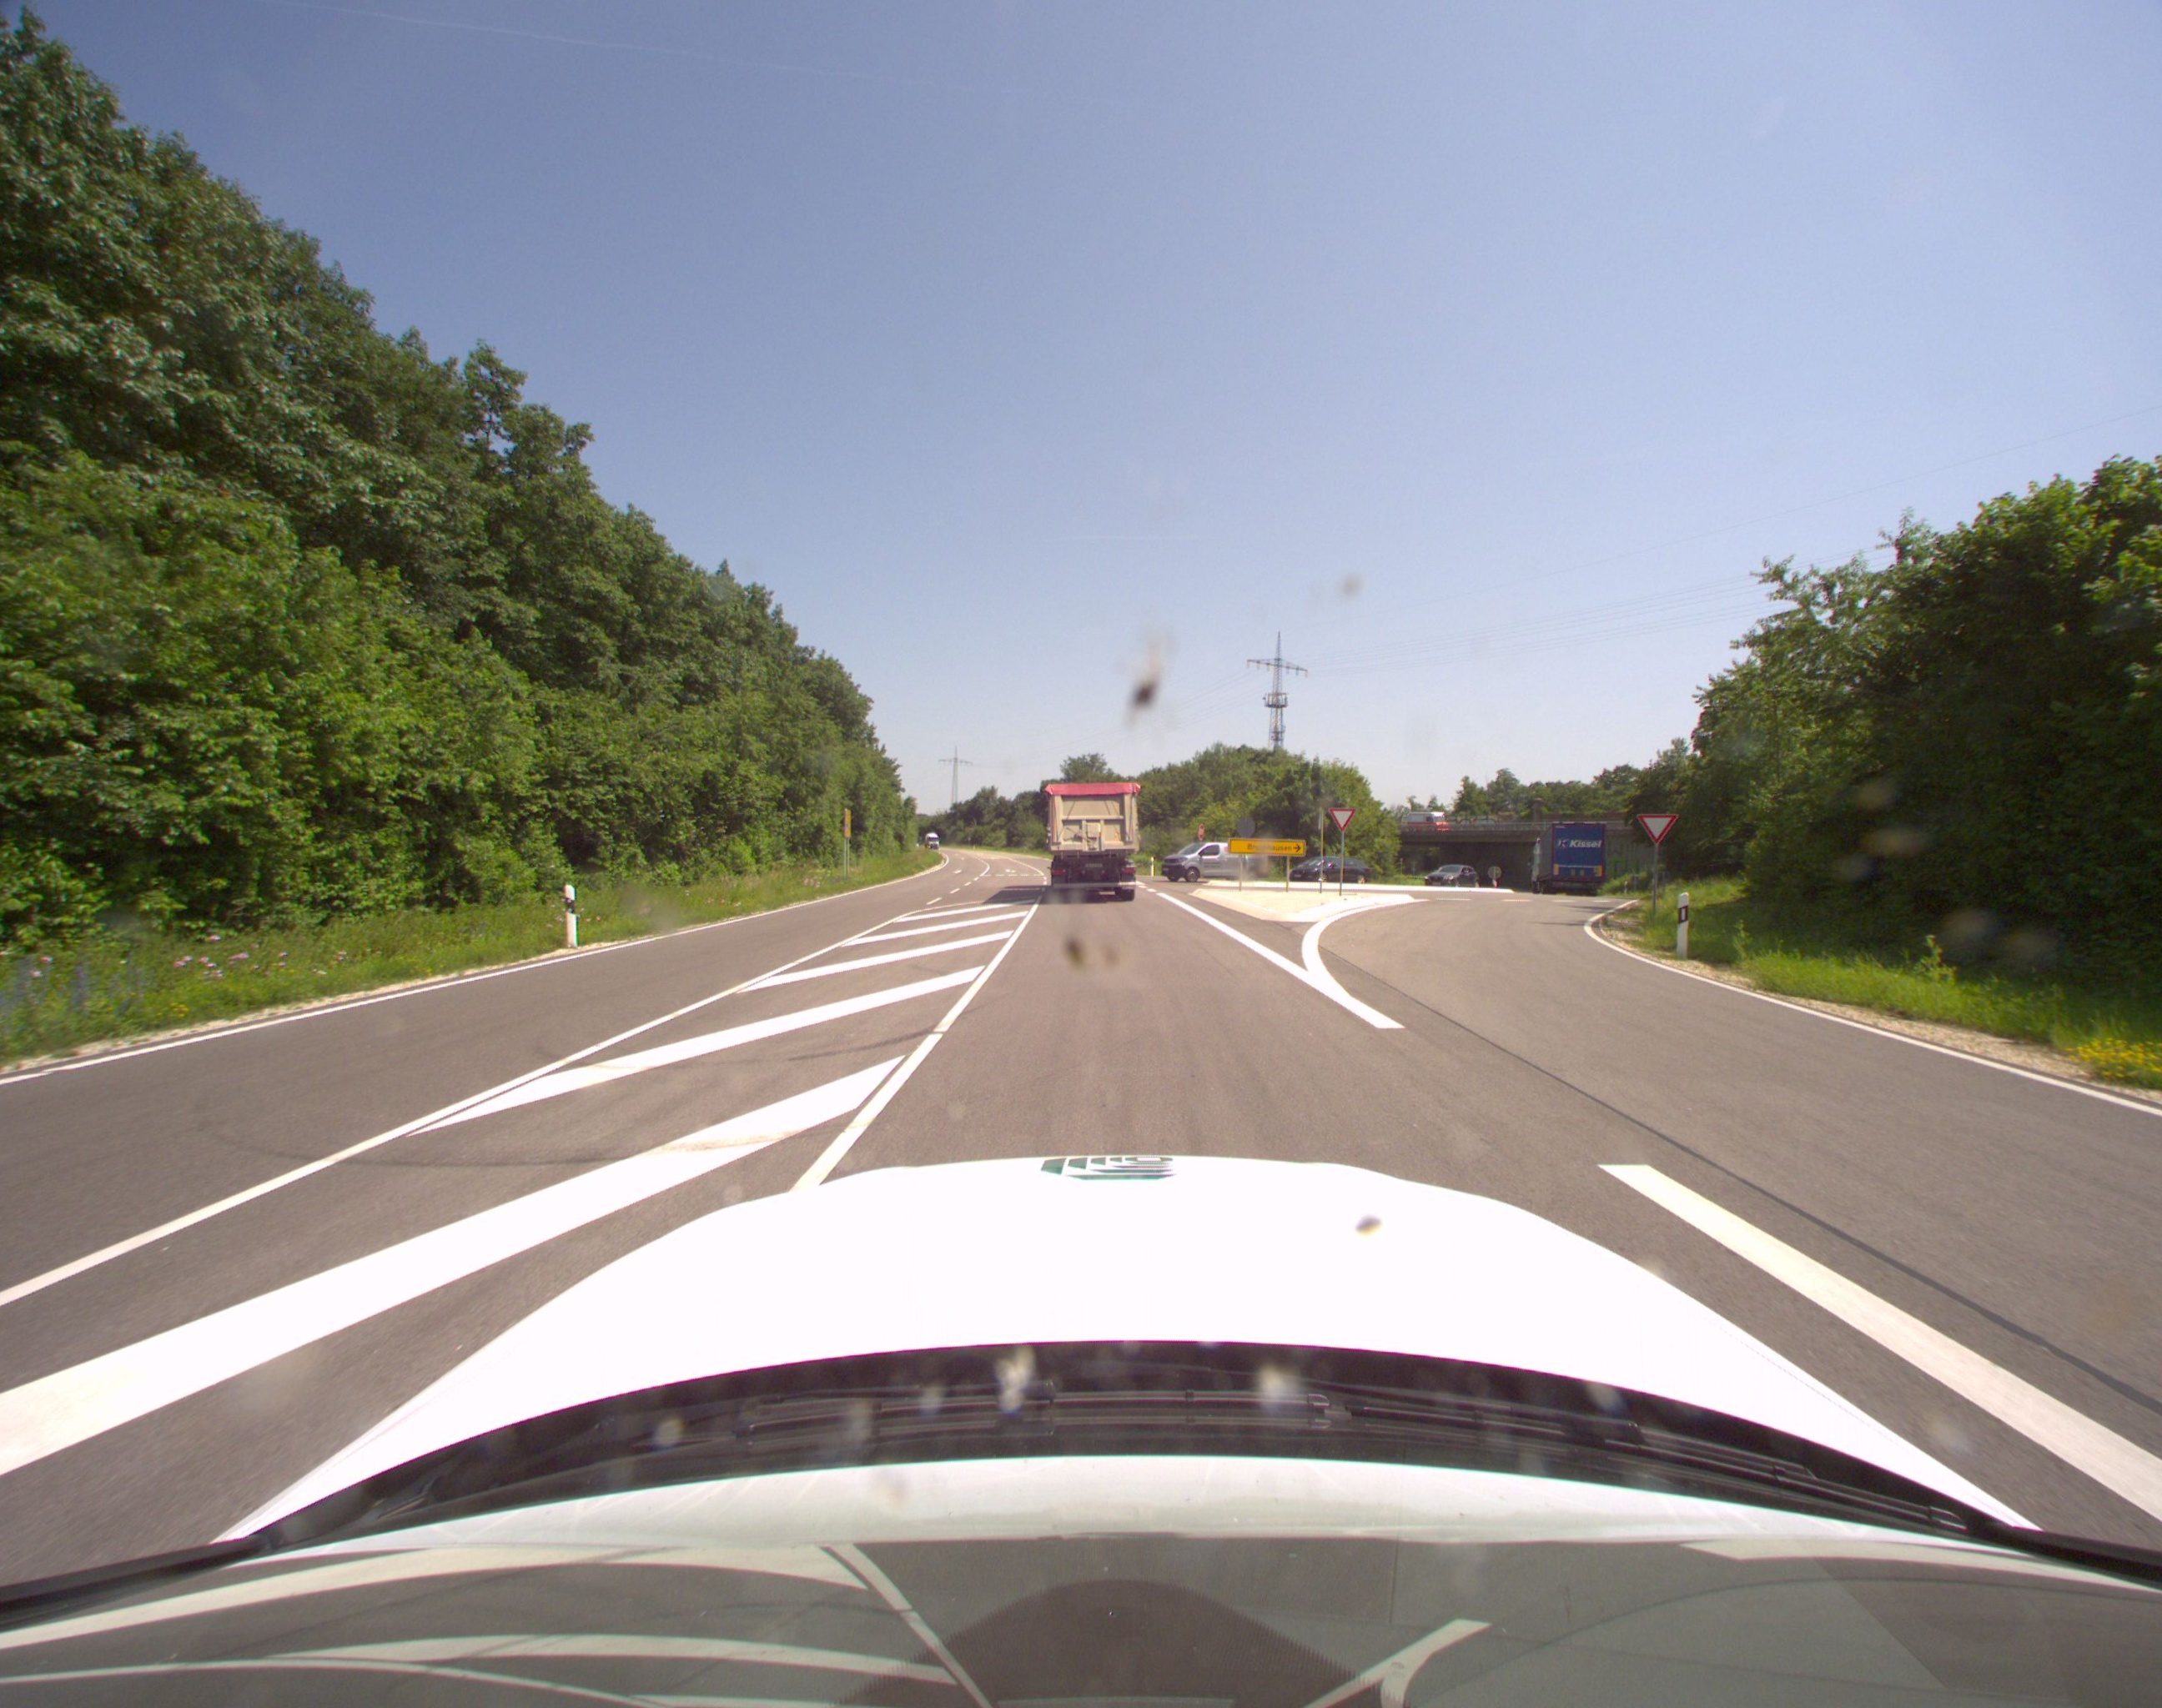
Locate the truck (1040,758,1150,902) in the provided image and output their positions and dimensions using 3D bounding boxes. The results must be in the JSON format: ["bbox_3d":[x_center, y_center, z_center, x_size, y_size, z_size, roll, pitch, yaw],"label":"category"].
[{"bbox_3d":[0.101,-0.752,28.491,2.887,3.962,11.918,-1,1,-3],"label":"truck"}]

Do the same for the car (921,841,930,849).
[{"bbox_3d":[-32.969,-1.911,172.689,1.843,1.779,4.874,-1,0,-11],"label":"car"}]

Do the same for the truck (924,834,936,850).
[{"bbox_3d":[-34.511,-2.767,186.428,2.627,3.670,8.767,-1,1,-10],"label":"truck"}]

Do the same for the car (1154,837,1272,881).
[{"bbox_3d":[6.236,0.276,38.499,5.234,1.907,1.999,2,-1,-23],"label":"car"}]

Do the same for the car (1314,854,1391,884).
[{"bbox_3d":[15.118,0.794,45.299,4.003,1.580,1.829,-1,0,-28],"label":"car"}]

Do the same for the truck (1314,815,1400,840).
[{"bbox_3d":[49.909,-4.783,148.160,4.459,3.919,16.574,-1,0,-25],"label":"truck"}]

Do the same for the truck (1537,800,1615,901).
[{"bbox_3d":[30.251,-0.221,50.341,3.331,5.315,15.435,-1,0,29],"label":"truck"}]

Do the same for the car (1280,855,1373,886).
[{"bbox_3d":[12.426,0.809,41.152,4.574,1.474,1.852,0,0,-28],"label":"car"}]

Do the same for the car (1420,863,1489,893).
[{"bbox_3d":[21.317,1.384,46.413,4.114,1.599,1.792,3,-2,-36],"label":"car"}]

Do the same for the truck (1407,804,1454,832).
[{"bbox_3d":[43.190,-4.389,100.848,2.485,3.276,4.837,-1,0,-28],"label":"truck"}]
